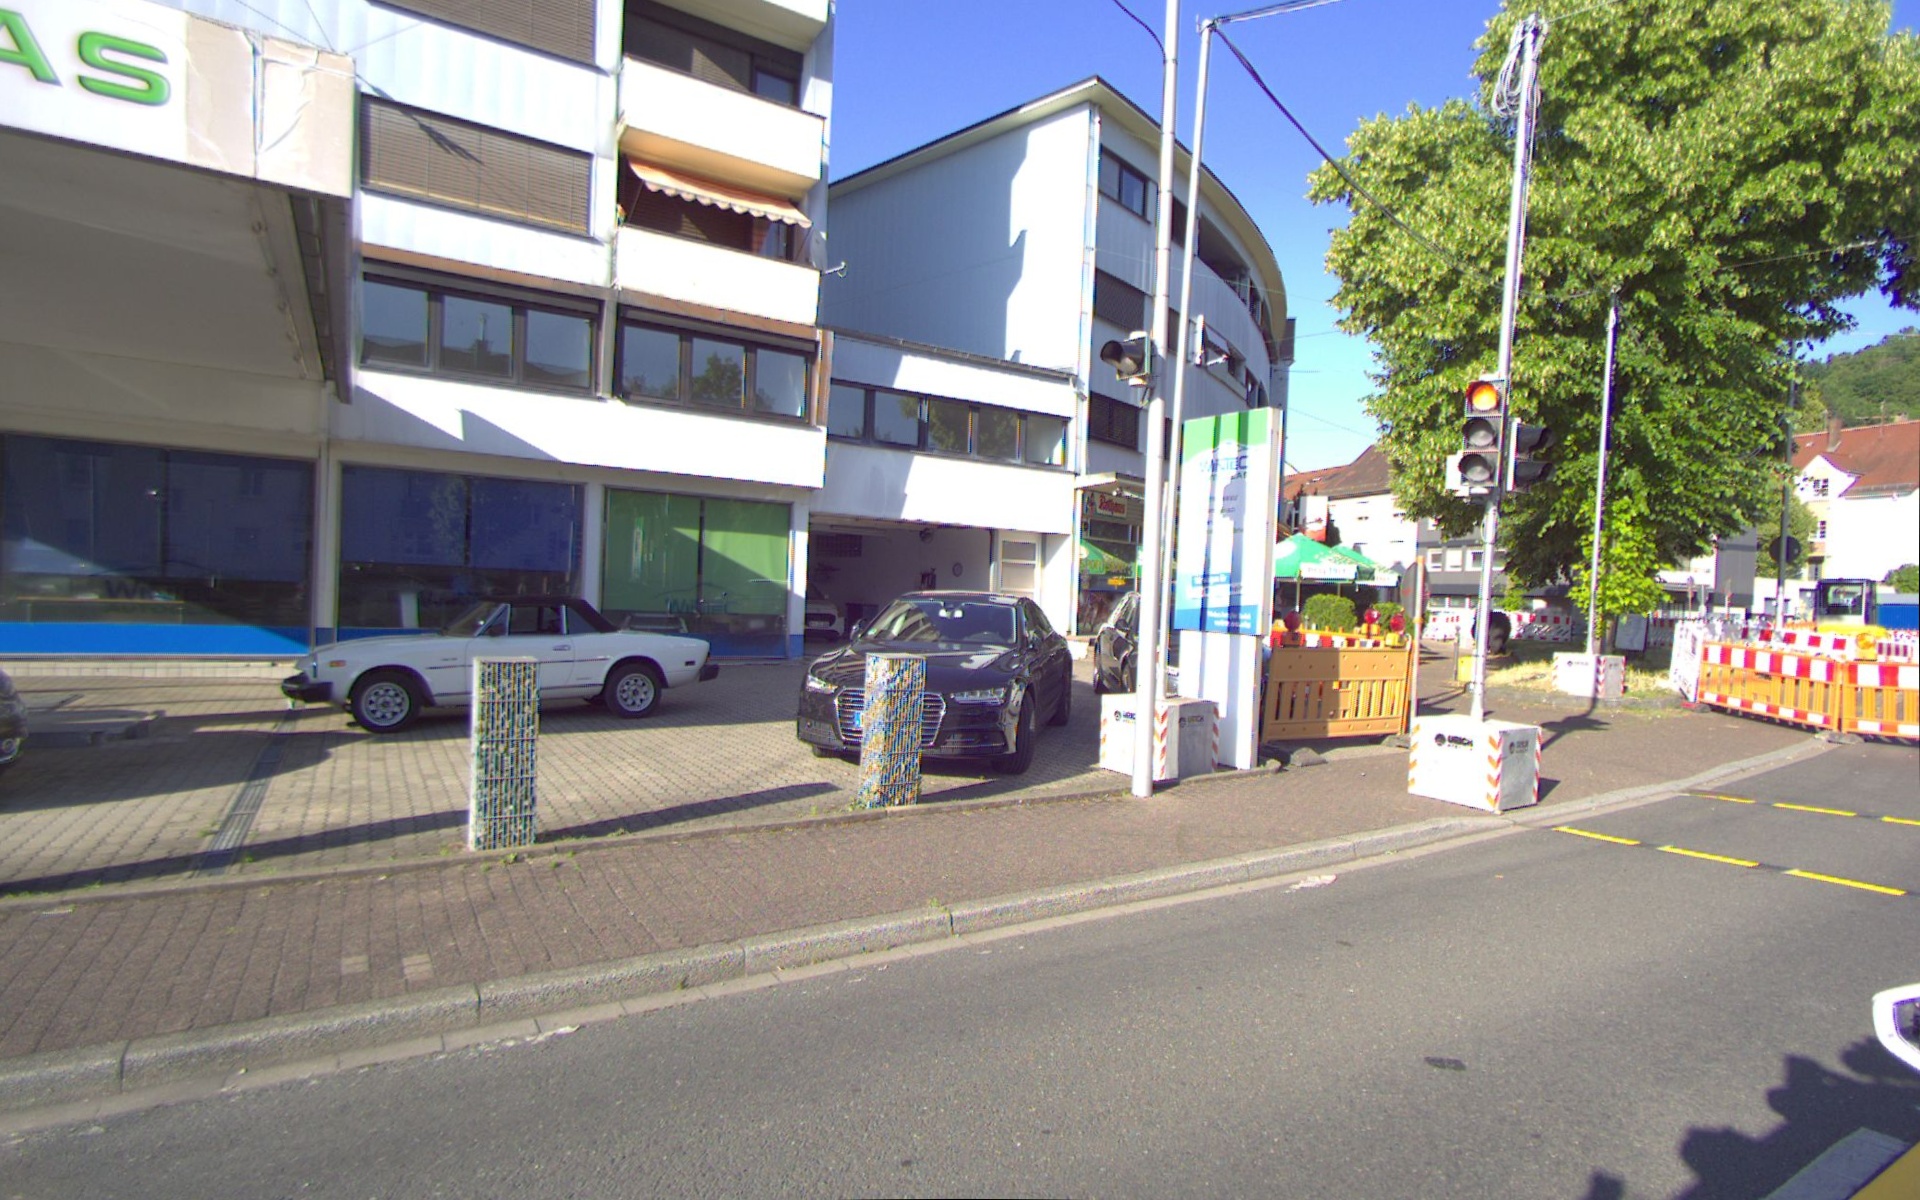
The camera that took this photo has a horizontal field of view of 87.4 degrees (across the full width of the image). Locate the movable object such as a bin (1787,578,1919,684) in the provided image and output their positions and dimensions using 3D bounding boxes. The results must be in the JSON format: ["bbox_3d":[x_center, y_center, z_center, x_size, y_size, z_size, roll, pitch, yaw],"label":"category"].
[{"bbox_3d":[21.555,0.702,24.118,3.882,2.356,1.635,1,0,-36],"label":"movable object such as a bin"}]

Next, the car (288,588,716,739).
[{"bbox_3d":[-4.675,0.593,10.482,3.865,1.315,1.511,1,-1,-35],"label":"car"}]

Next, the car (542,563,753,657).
[{"bbox_3d":[-6.100,0.218,19.704,3.593,1.696,1.707,2,0,-34],"label":"car"}]

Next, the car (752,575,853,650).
[{"bbox_3d":[-3.894,0.253,24.375,1.550,1.629,3.734,2,1,-23],"label":"car"}]

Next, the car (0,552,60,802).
[{"bbox_3d":[-7.482,0.409,5.853,3.305,1.506,1.543,2,0,8],"label":"car"}]

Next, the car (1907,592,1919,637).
[{"bbox_3d":[49.510,0.789,48.445,6.043,2.149,2.586,2,0,-12],"label":"car"}]

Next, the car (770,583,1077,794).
[{"bbox_3d":[-0.025,0.650,9.566,1.893,1.457,4.692,1,0,11],"label":"car"}]

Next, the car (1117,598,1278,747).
[{"bbox_3d":[2.758,0.746,12.075,1.564,1.457,3.887,1,0,11],"label":"car"}]
